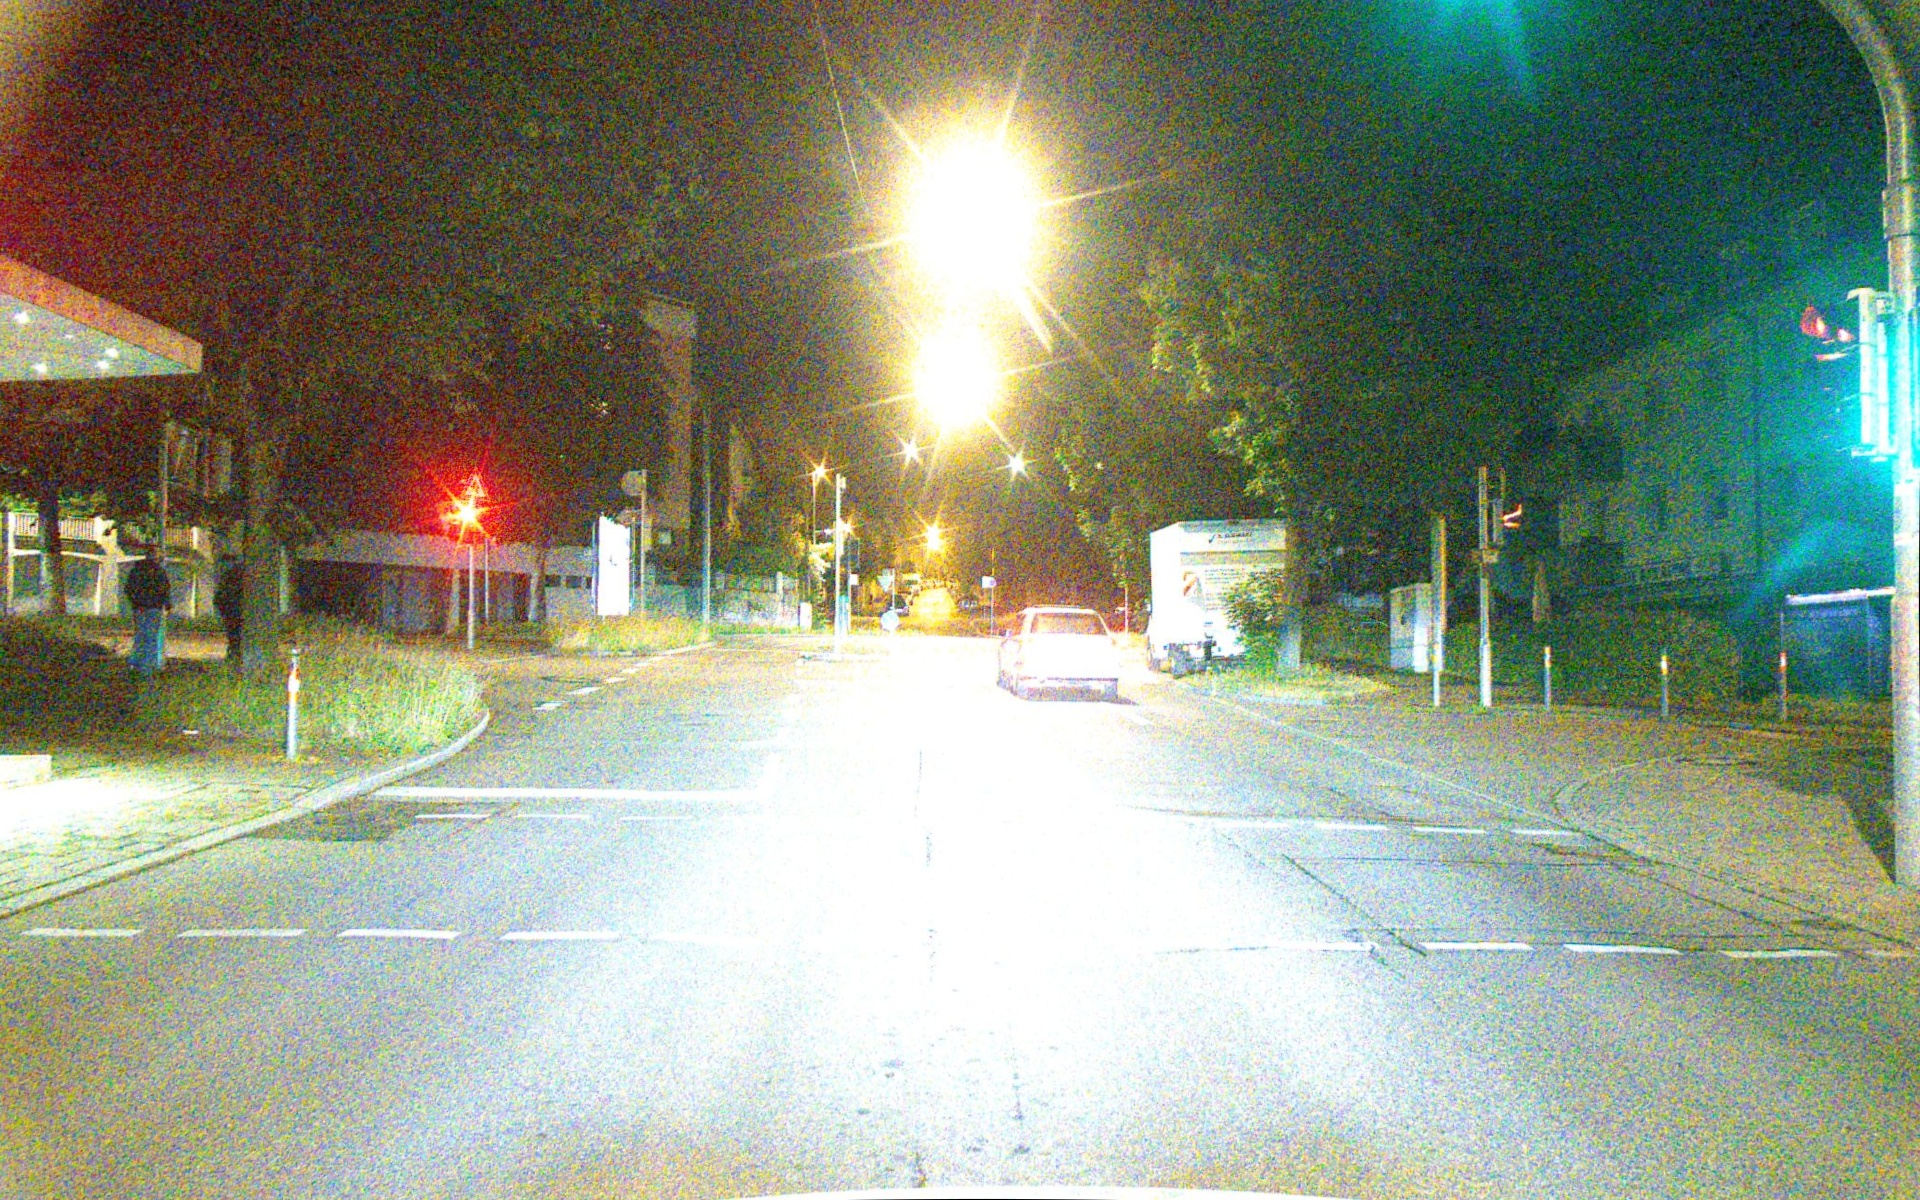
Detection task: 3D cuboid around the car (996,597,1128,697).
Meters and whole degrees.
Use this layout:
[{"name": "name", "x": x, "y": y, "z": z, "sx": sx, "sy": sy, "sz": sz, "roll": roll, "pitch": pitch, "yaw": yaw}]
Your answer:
[{"name": "car", "x": 1.624, "y": 0.732, "z": 27.571, "sx": 1.740, "sy": 1.512, "sz": 3.997, "roll": 1, "pitch": 0, "yaw": -3}]

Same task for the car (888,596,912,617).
[{"name": "car", "x": -4.843, "y": 0.531, "z": 134.300, "sx": 1.869, "sy": 1.585, "sz": 3.903, "roll": 1, "pitch": 0, "yaw": -1}]

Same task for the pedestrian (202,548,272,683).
[{"name": "pedestrian", "x": -9.972, "y": 0.207, "z": 22.824, "sx": 0.558, "sy": 1.808, "sz": 0.737, "roll": 3, "pitch": -1, "yaw": -1}]

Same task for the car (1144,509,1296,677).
[{"name": "car", "x": 5.252, "y": -0.133, "z": 34.303, "sx": 2.249, "sy": 3.147, "sz": 5.840, "roll": -1, "pitch": 0, "yaw": 1}]

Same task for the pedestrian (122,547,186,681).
[{"name": "pedestrian", "x": -10.822, "y": 0.185, "z": 22.209, "sx": 0.558, "sy": 1.761, "sz": 0.543, "roll": 1, "pitch": -1, "yaw": -1}]
